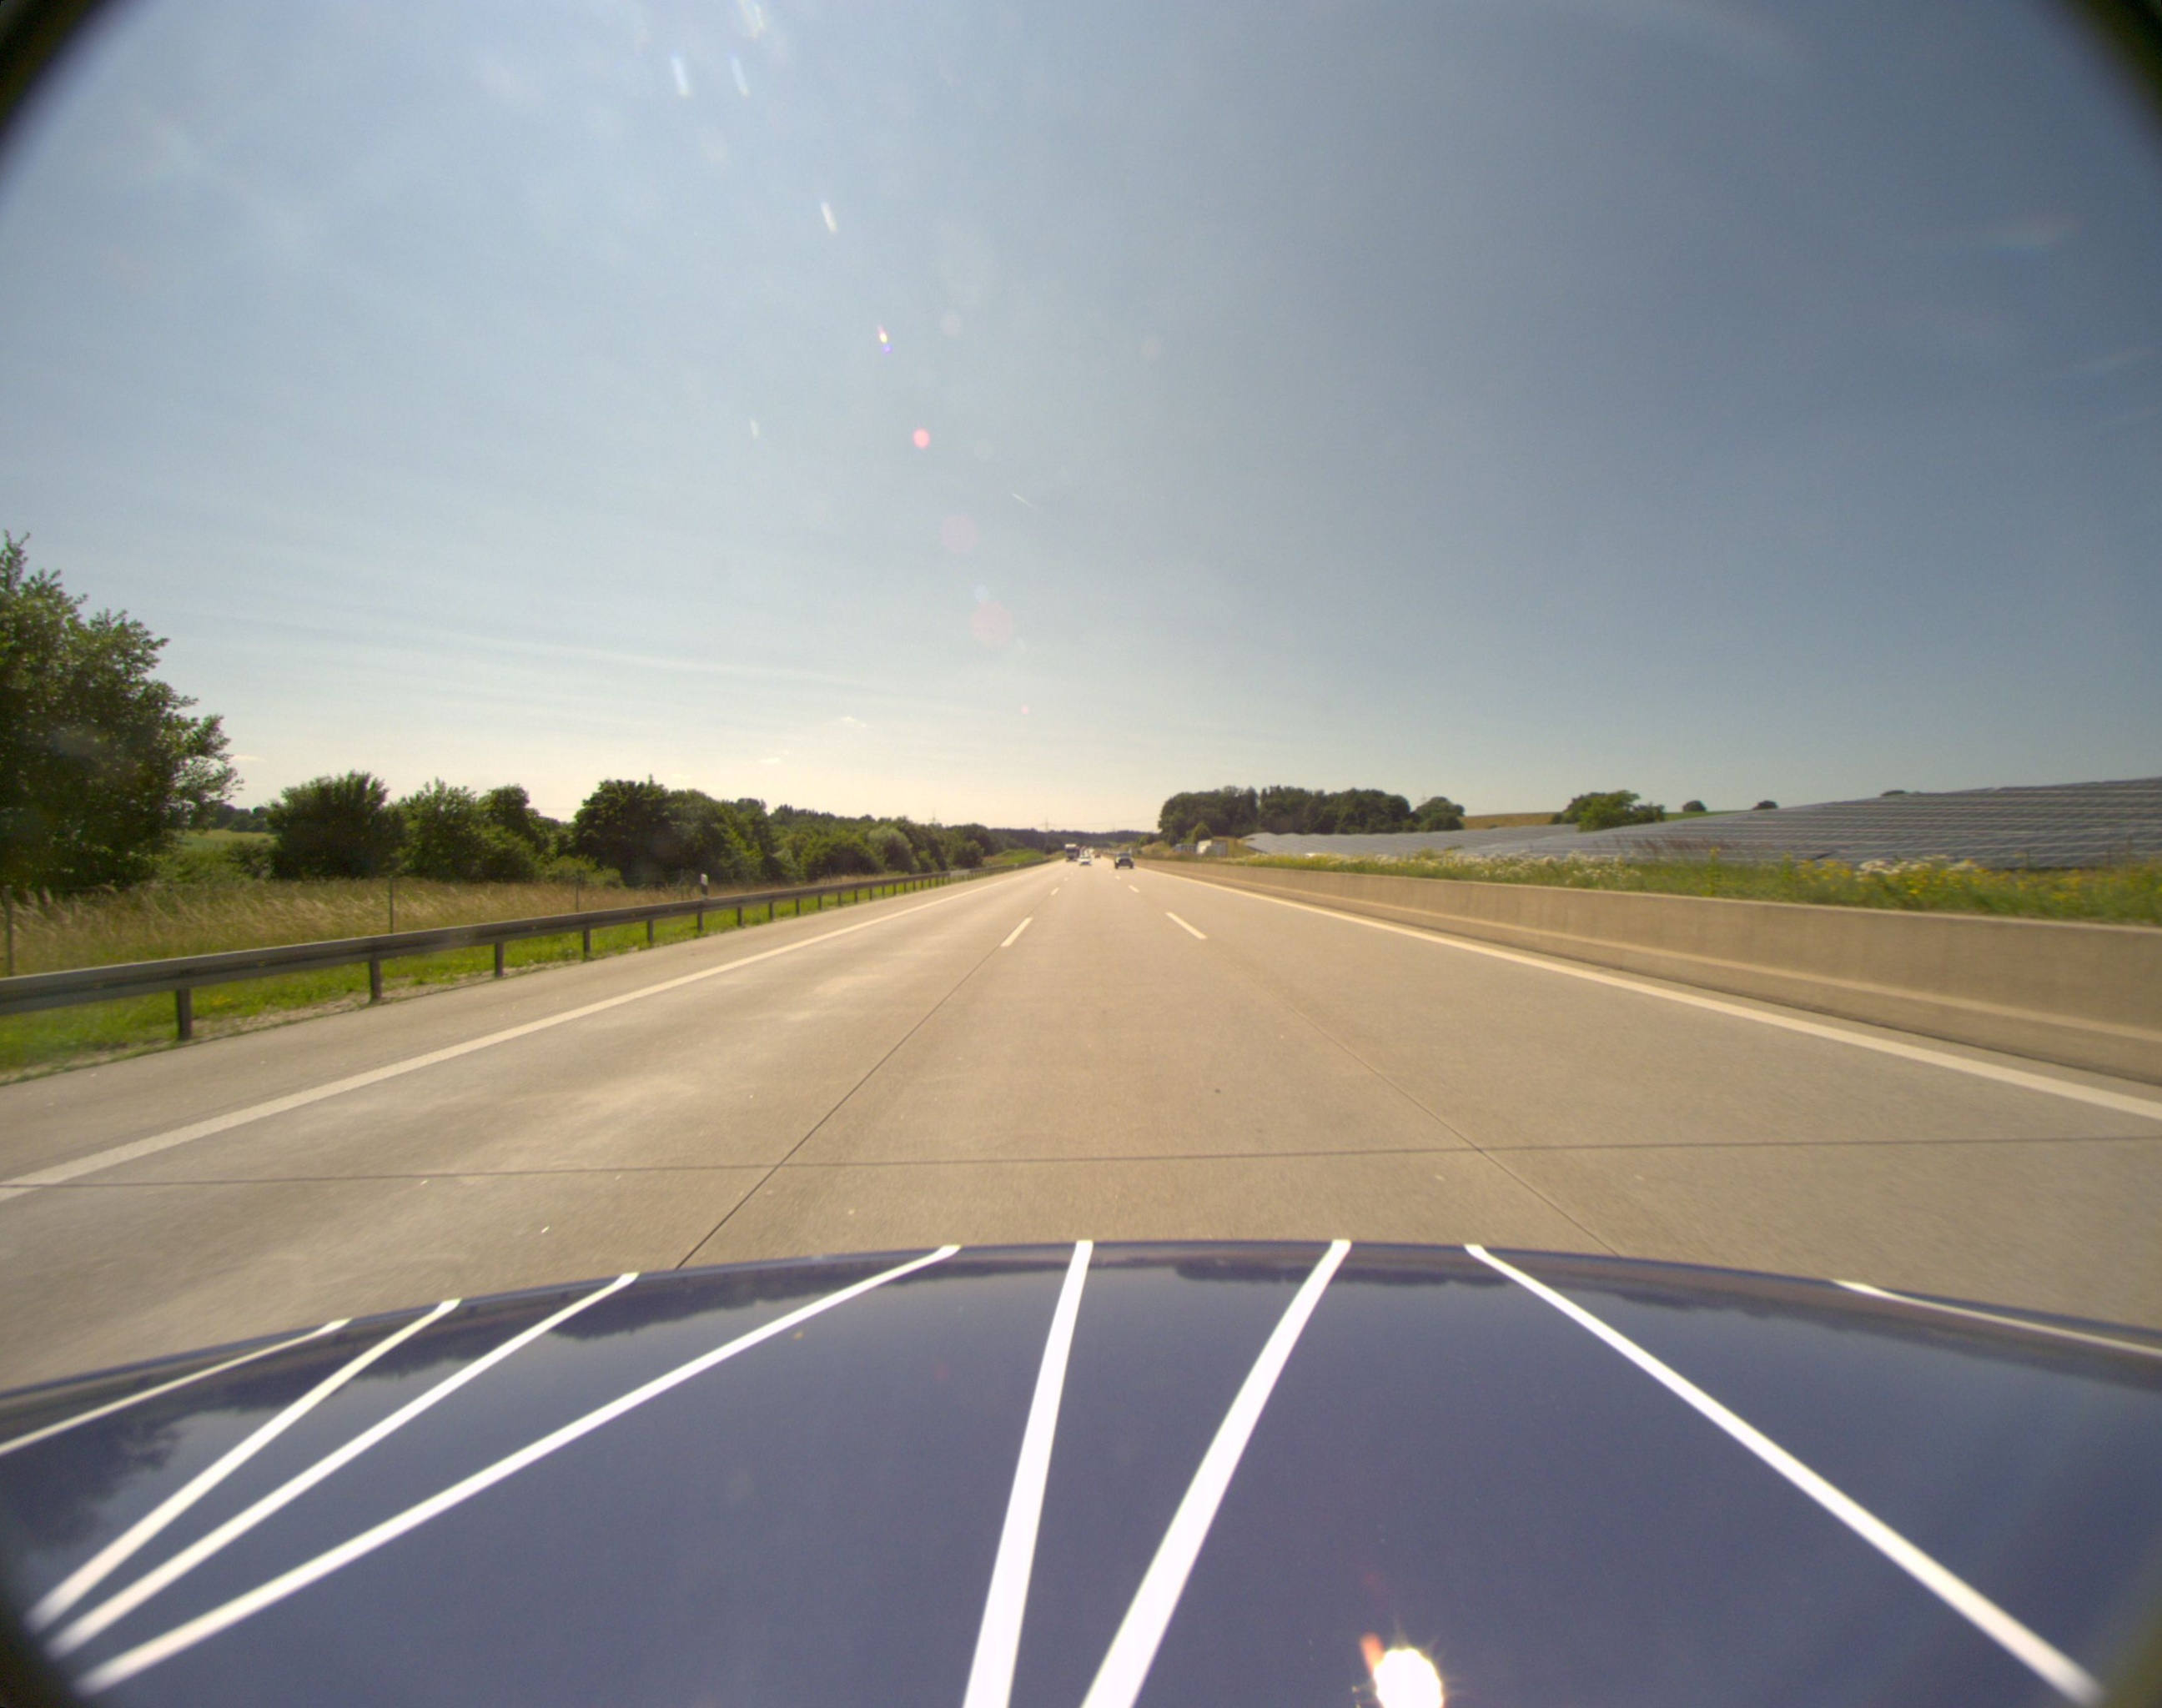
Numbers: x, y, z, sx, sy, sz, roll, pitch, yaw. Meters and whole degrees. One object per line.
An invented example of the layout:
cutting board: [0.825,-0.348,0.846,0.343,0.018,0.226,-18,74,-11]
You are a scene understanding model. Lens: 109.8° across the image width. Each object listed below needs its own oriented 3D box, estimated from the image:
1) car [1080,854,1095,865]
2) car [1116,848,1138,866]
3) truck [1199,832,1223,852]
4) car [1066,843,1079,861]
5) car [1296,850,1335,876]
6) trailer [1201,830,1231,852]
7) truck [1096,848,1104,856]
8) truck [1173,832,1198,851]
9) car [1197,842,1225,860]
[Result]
car: [0.983,0.776,114.418,2.065,1.472,5.068,-2,0,0]
car: [5.024,0.321,83.774,1.998,1.836,6.529,-3,0,1]
truck: [23.040,-2.110,135.331,3.130,3.467,6.884,-2,1,1]
car: [-1.988,-0.530,181.988,2.766,4.029,10.852,-1,0,1]
car: [14.147,0.522,45.972,1.409,1.474,2.966,-2,1,1]
trailer: [22.906,-2.138,129.132,3.082,3.504,11.762,-2,1,1]
truck: [6.083,-0.714,240.771,2.262,2.461,6.614,-2,0,1]
truck: [18.277,-2.122,133.250,2.832,3.046,10.374,-2,1,0]
car: [15.311,-0.360,89.912,2.189,2.002,6.347,-2,1,0]
